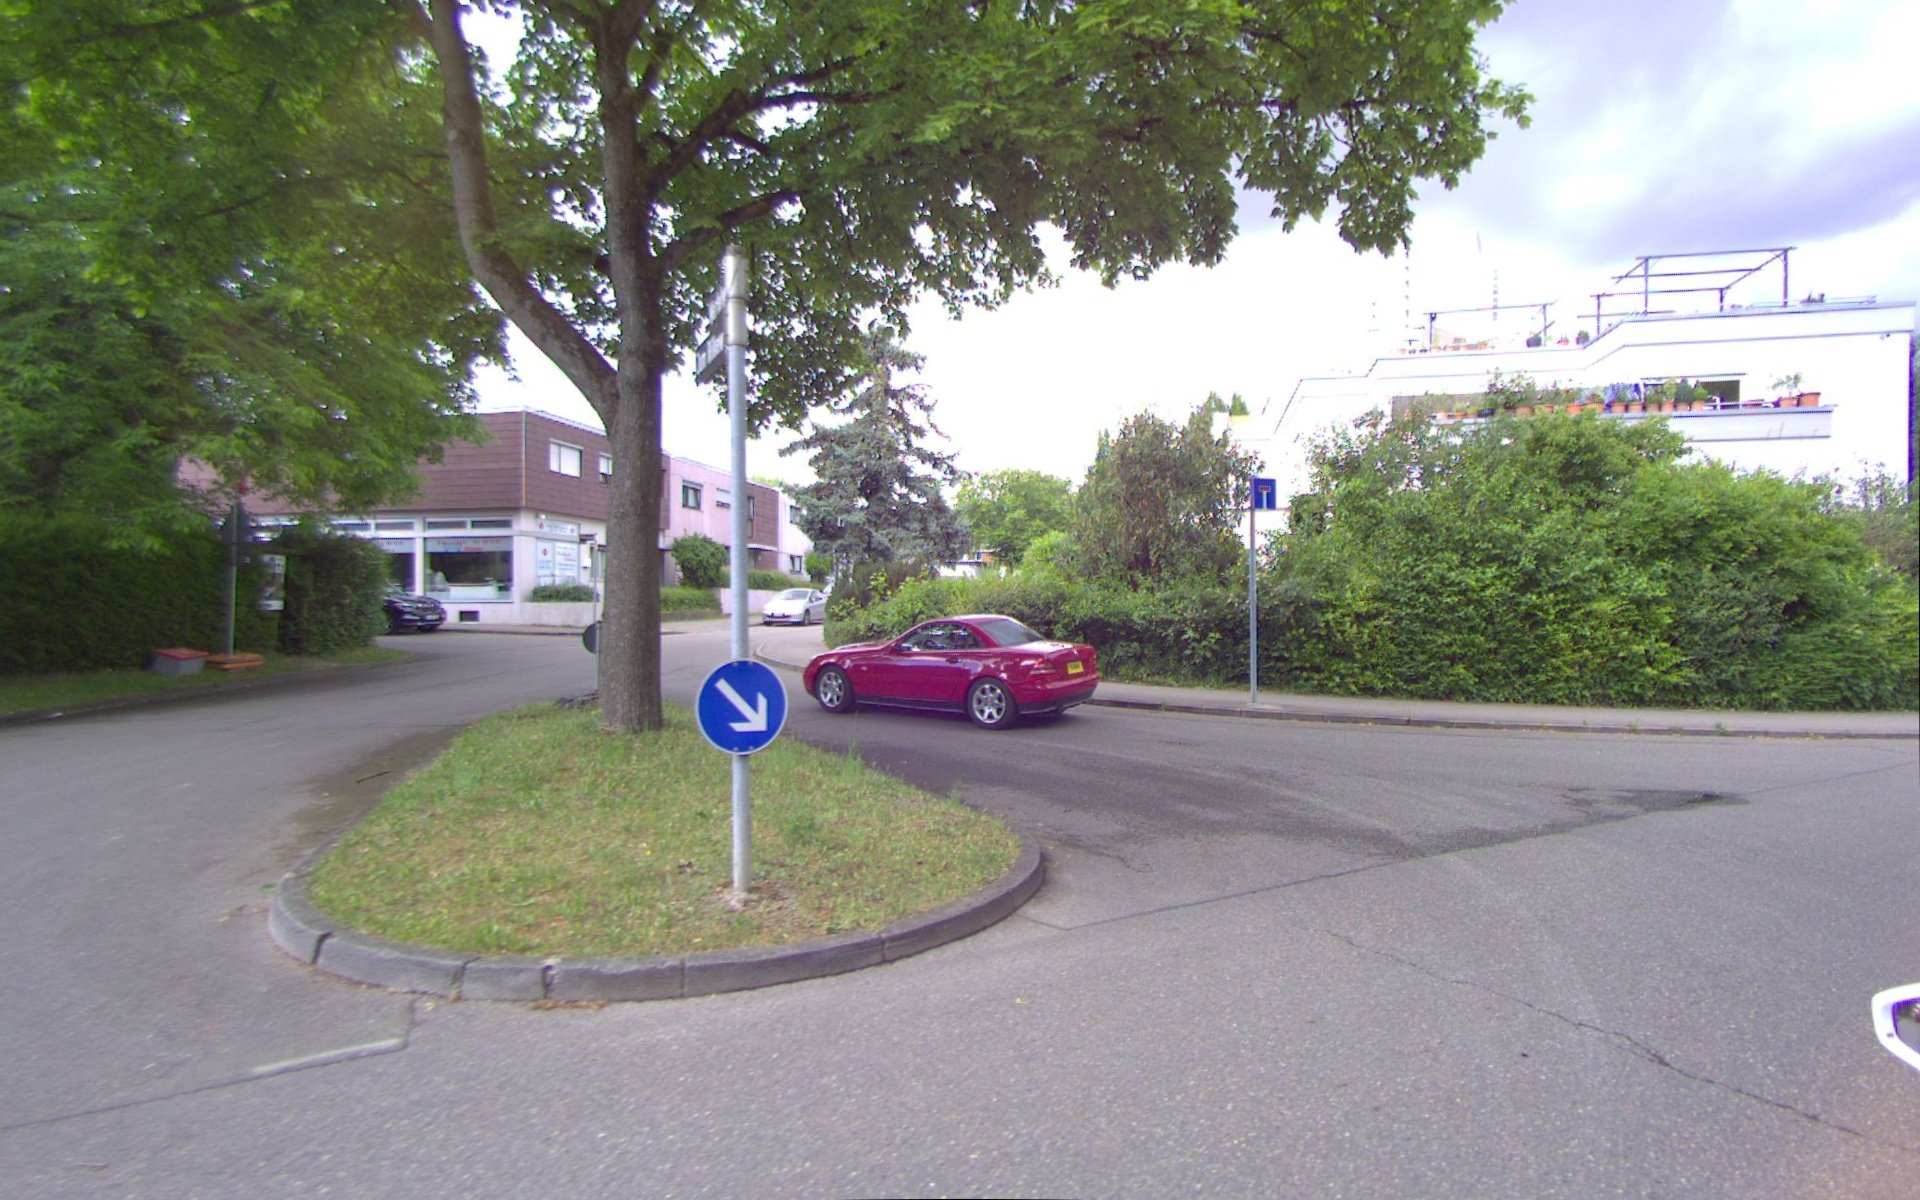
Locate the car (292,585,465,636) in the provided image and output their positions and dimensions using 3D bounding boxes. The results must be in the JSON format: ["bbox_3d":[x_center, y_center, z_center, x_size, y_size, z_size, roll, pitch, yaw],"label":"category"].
[{"bbox_3d":[-17.295,0.278,29.935,4.192,1.395,2.001,0,2,13],"label":"car"}]

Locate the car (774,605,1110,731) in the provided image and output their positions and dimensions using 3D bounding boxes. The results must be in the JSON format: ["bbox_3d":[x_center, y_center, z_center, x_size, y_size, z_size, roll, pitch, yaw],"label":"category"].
[{"bbox_3d":[-0.268,0.759,12.883,3.993,1.353,1.753,0,0,30],"label":"car"}]

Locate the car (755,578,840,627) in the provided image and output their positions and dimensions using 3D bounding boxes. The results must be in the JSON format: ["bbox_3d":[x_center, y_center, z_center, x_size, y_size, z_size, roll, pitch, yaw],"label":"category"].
[{"bbox_3d":[-6.313,0.144,39.557,1.724,1.739,4.002,0,-2,16],"label":"car"}]
